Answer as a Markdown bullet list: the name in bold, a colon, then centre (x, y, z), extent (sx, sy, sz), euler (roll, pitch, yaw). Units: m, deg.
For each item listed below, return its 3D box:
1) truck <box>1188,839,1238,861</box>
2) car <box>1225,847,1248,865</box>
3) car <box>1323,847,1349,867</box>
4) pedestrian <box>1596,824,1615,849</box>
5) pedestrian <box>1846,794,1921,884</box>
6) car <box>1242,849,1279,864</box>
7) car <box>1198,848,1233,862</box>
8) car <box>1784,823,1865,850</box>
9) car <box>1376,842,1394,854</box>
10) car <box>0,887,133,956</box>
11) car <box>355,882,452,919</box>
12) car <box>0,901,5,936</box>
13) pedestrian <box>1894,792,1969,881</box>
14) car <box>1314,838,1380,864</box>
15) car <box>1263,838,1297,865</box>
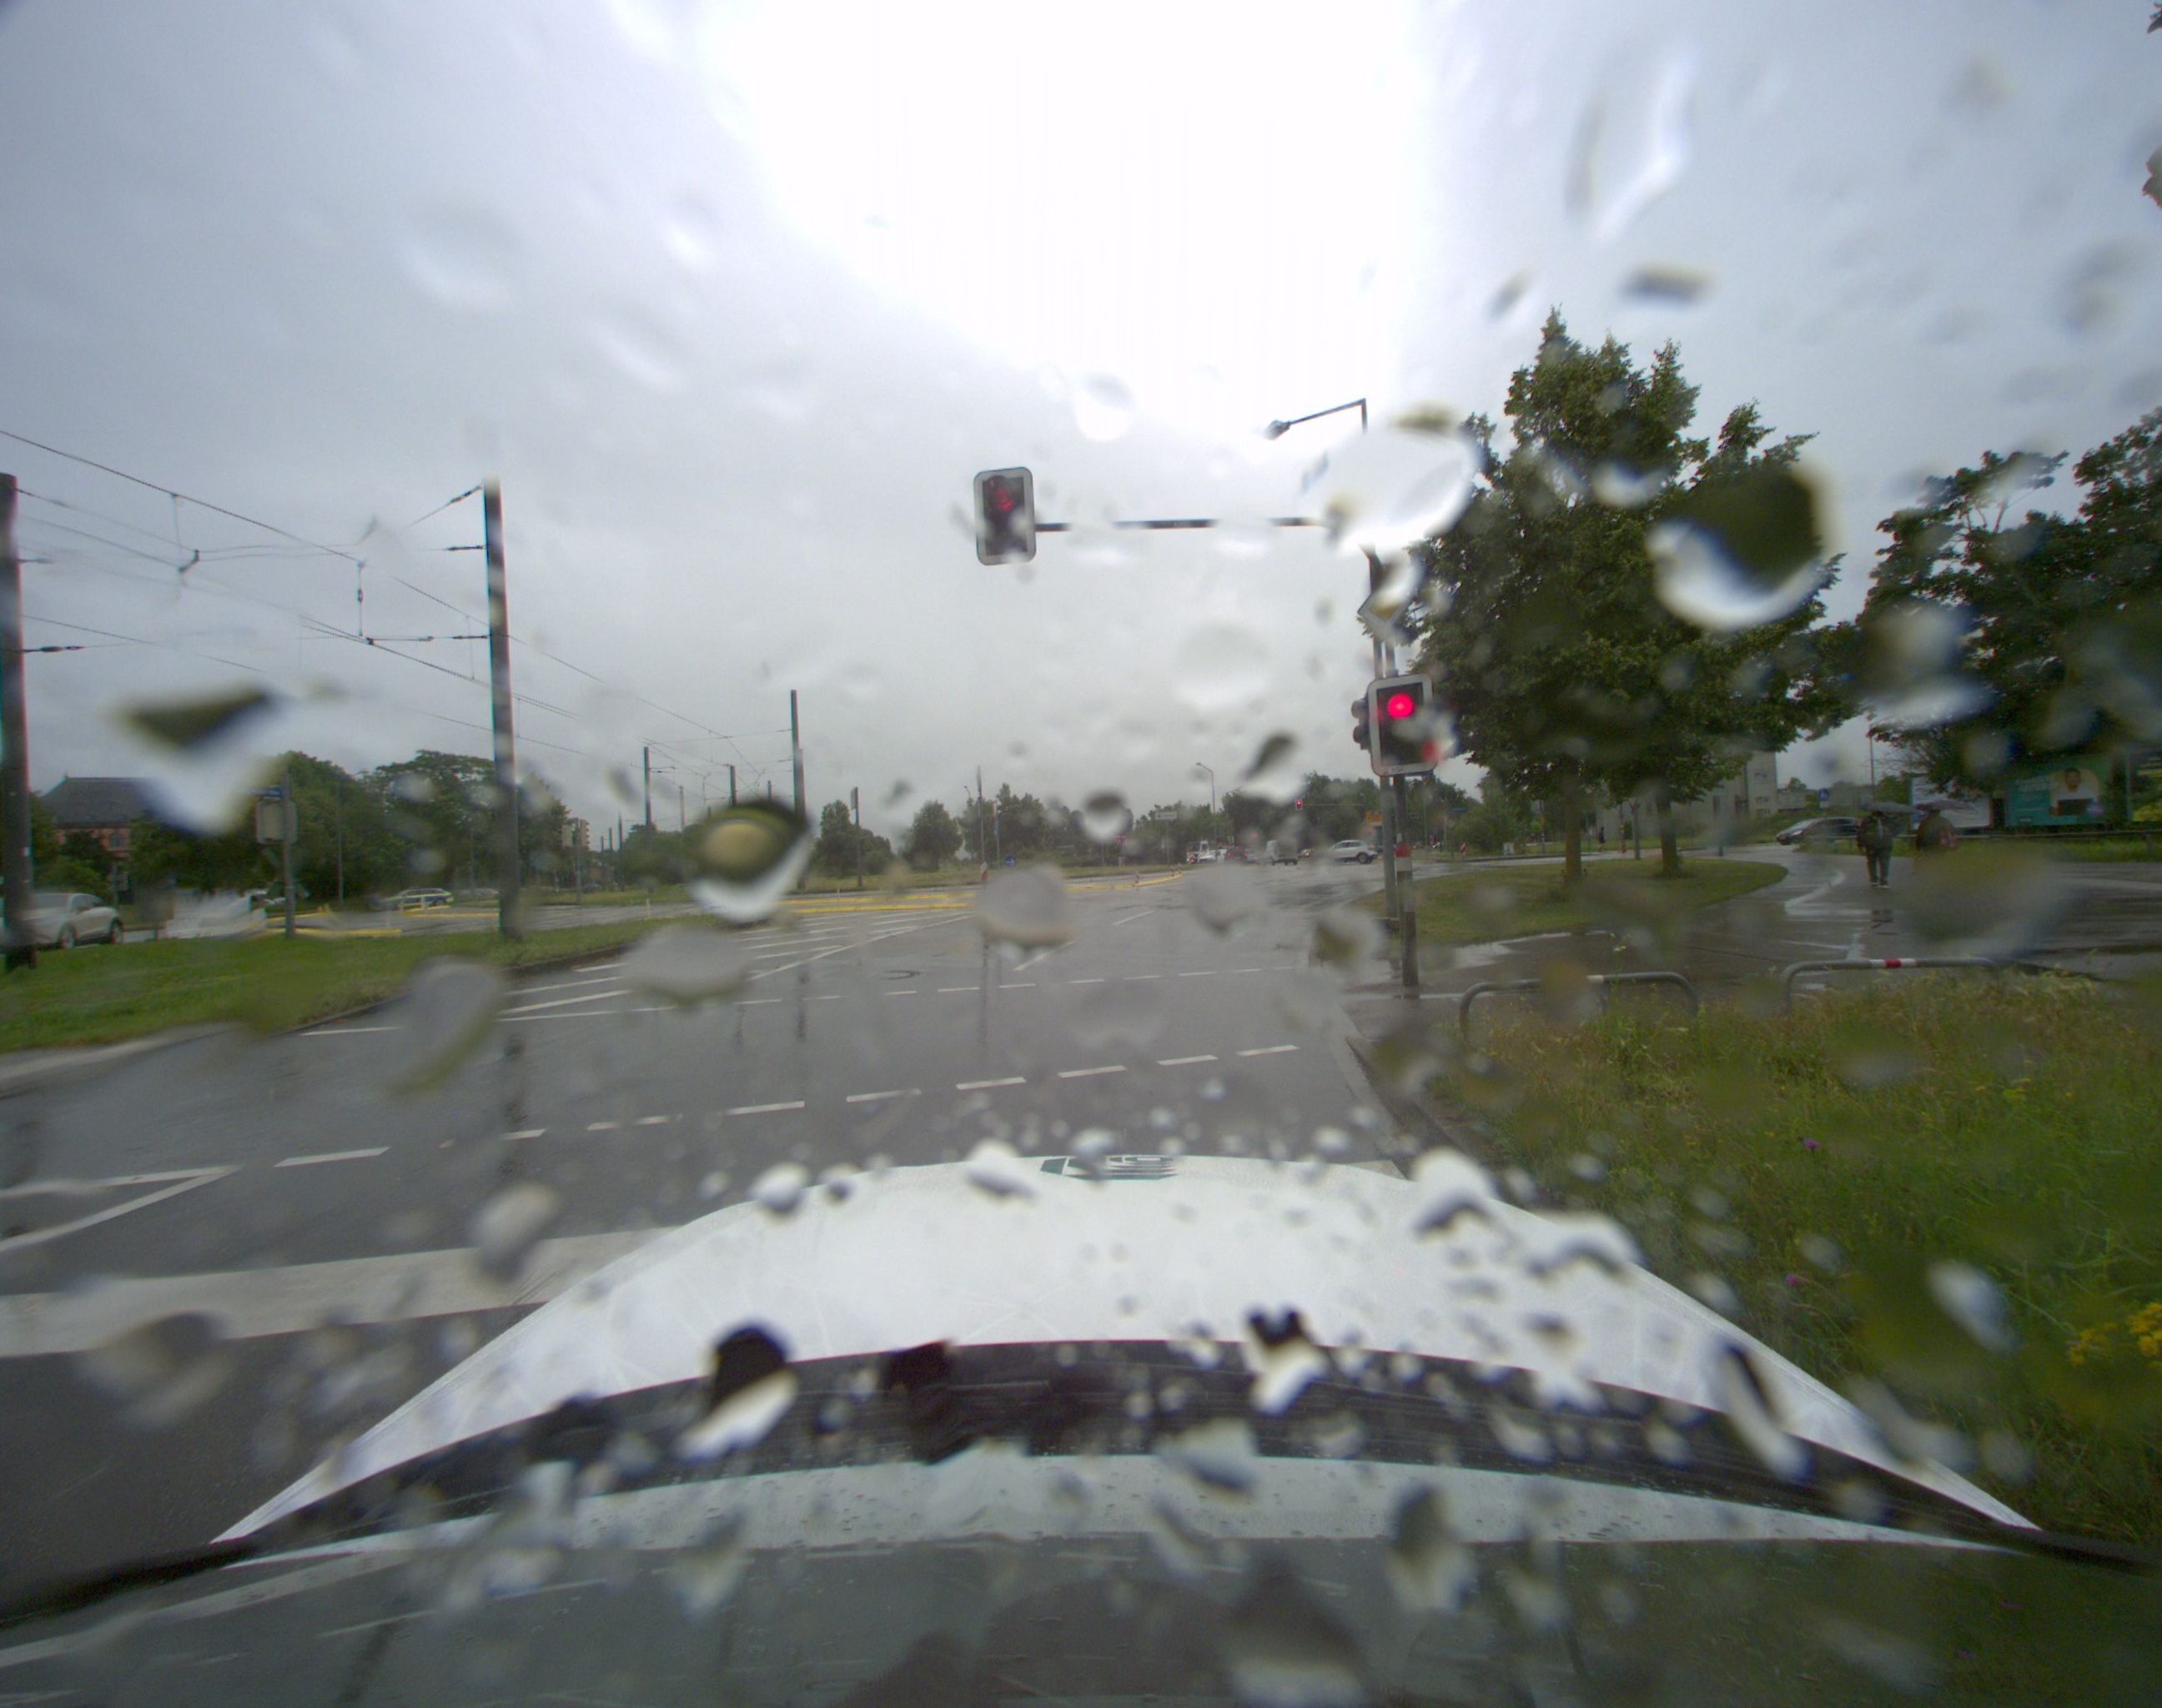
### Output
- **truck**: centre (16.412, -0.456, 100.921), extent (1.974, 2.711, 8.852), euler (-1, -1, 39)
- **car**: centre (13.430, 0.175, 70.501), extent (1.680, 1.492, 3.257), euler (0, -1, 7)
- **car**: centre (21.195, 0.234, 67.742), extent (1.678, 1.492, 3.261), euler (-3, 0, 11)
- **pedestrian**: centre (37.579, -1.236, 58.369), extent (0.947, 1.772, 0.715), euler (-1, -1, 11)
- **pedestrian**: centre (16.359, -0.291, 16.614), extent (0.811, 1.784, 0.914), euler (0, -1, -33)
- **car**: centre (16.669, 0.253, 75.697), extent (3.137, 1.372, 1.379), euler (0, -1, -24)
- **car**: centre (15.711, 0.126, 95.119), extent (4.574, 1.492, 1.592), euler (0, -1, -43)
- **car**: centre (46.995, -1.088, 51.517), extent (3.988, 1.648, 1.782), euler (0, -1, -11)
- **car**: centre (53.341, -1.093, 142.926), extent (1.771, 2.014, 3.697), euler (-1, -1, 39)
- **car**: centre (-26.307, 1.644, 20.632), extent (1.859, 1.486, 4.182), euler (0, -1, -33)
- **car**: centre (-47.611, 3.218, 57.373), extent (1.975, 2.327, 4.870), euler (-1, -1, 26)
- **car**: centre (-58.757, 3.427, 41.182), extent (4.863, 1.811, 1.978), euler (0, -1, -37)
- **pedestrian**: centre (17.642, -0.347, 16.901), extent (0.811, 1.784, 0.914), euler (0, -1, -33)
- **car**: centre (17.810, -0.186, 54.630), extent (3.896, 1.648, 1.697), euler (-1, -1, 31)
- **car**: centre (15.620, -0.166, 64.043), extent (1.777, 2.036, 4.000), euler (0, -1, 1)
